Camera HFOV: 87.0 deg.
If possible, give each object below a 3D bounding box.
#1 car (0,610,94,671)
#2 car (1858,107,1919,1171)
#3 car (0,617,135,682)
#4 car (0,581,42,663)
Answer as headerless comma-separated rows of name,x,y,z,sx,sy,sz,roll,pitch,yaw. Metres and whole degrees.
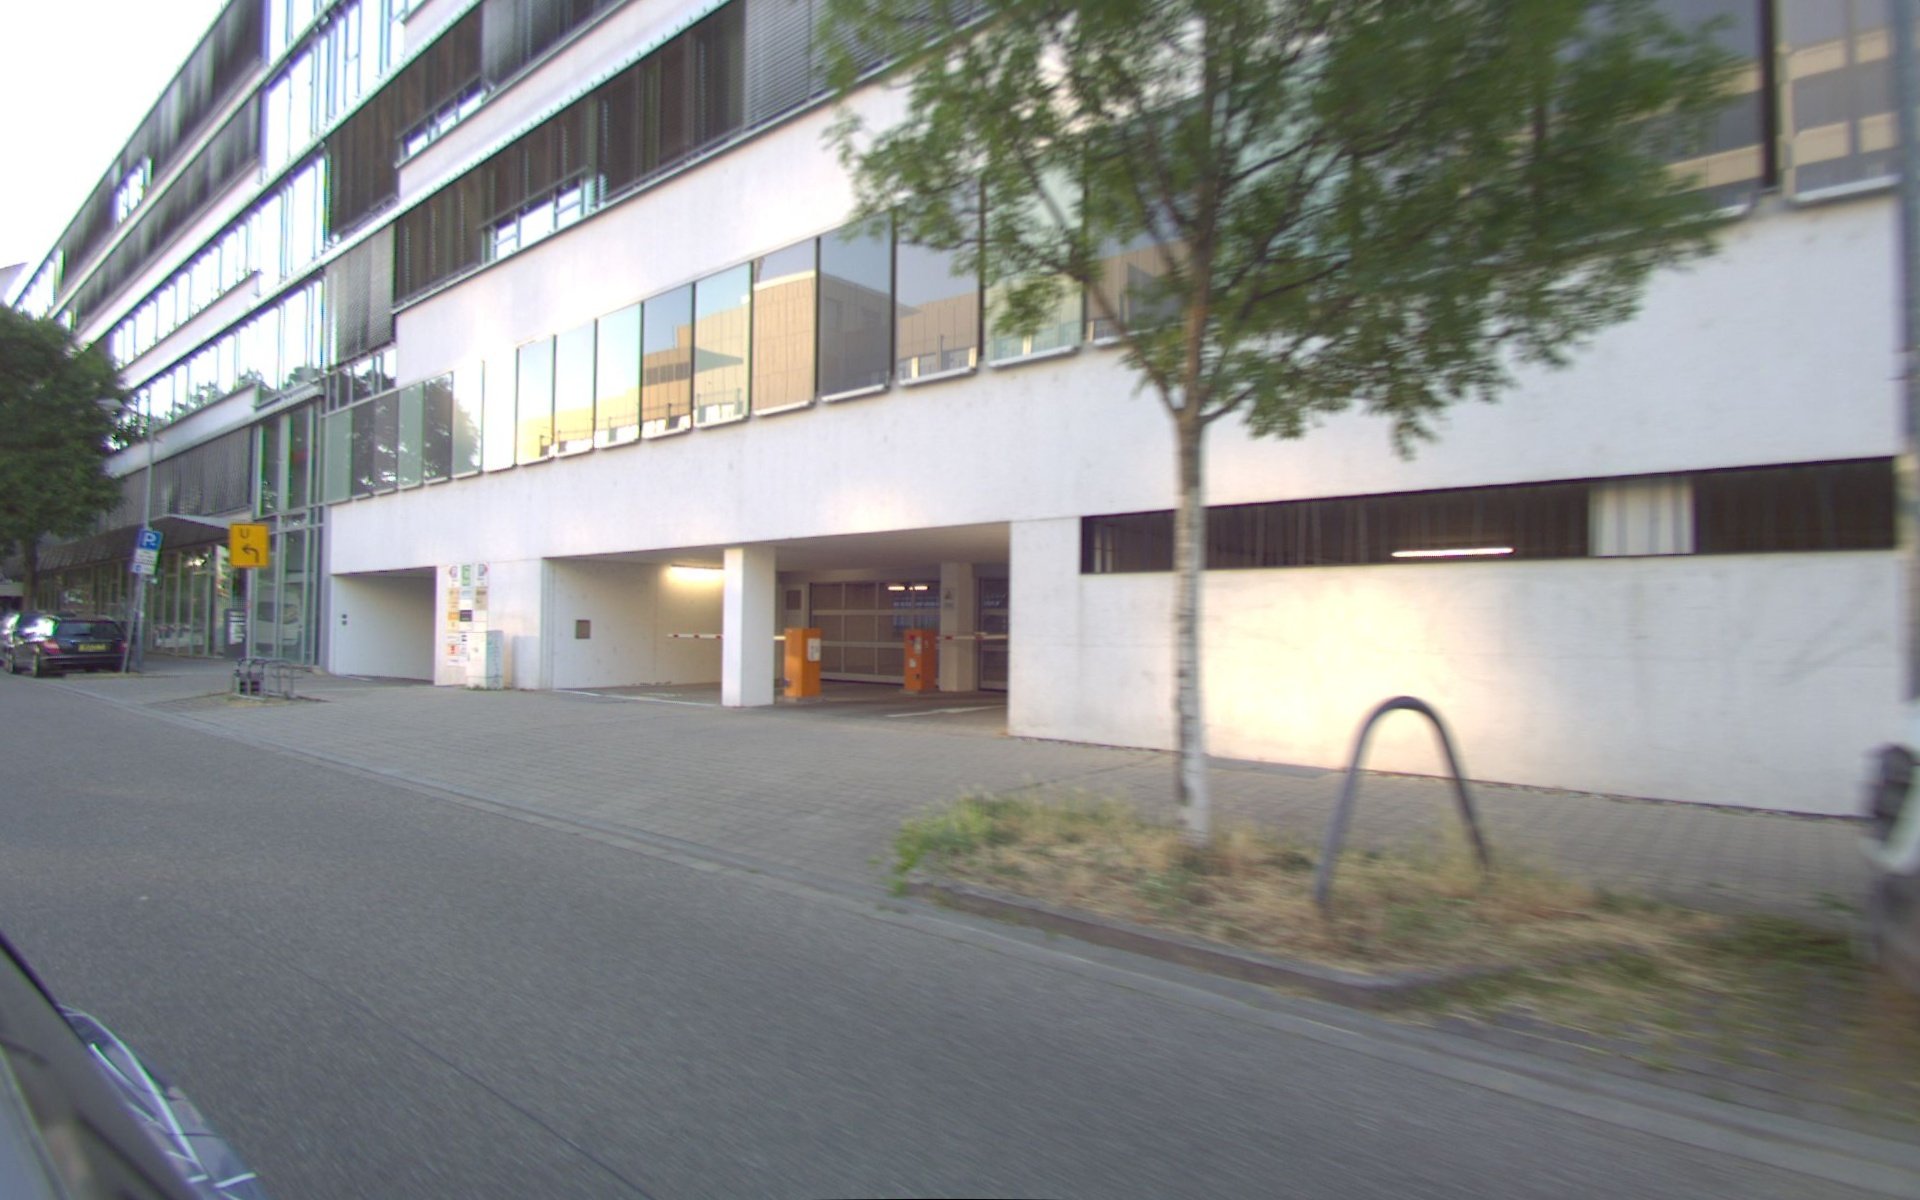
car,-25.715,1.104,28.137,4.264,1.583,1.825,-2,-2,41
car,5.574,0.017,1.011,6.888,2.637,1.938,-2,-1,41
car,-22.016,1.180,24.823,4.390,1.463,1.699,-1,-2,36
car,-34.060,0.782,35.343,6.946,2.684,2.079,-2,-2,41
